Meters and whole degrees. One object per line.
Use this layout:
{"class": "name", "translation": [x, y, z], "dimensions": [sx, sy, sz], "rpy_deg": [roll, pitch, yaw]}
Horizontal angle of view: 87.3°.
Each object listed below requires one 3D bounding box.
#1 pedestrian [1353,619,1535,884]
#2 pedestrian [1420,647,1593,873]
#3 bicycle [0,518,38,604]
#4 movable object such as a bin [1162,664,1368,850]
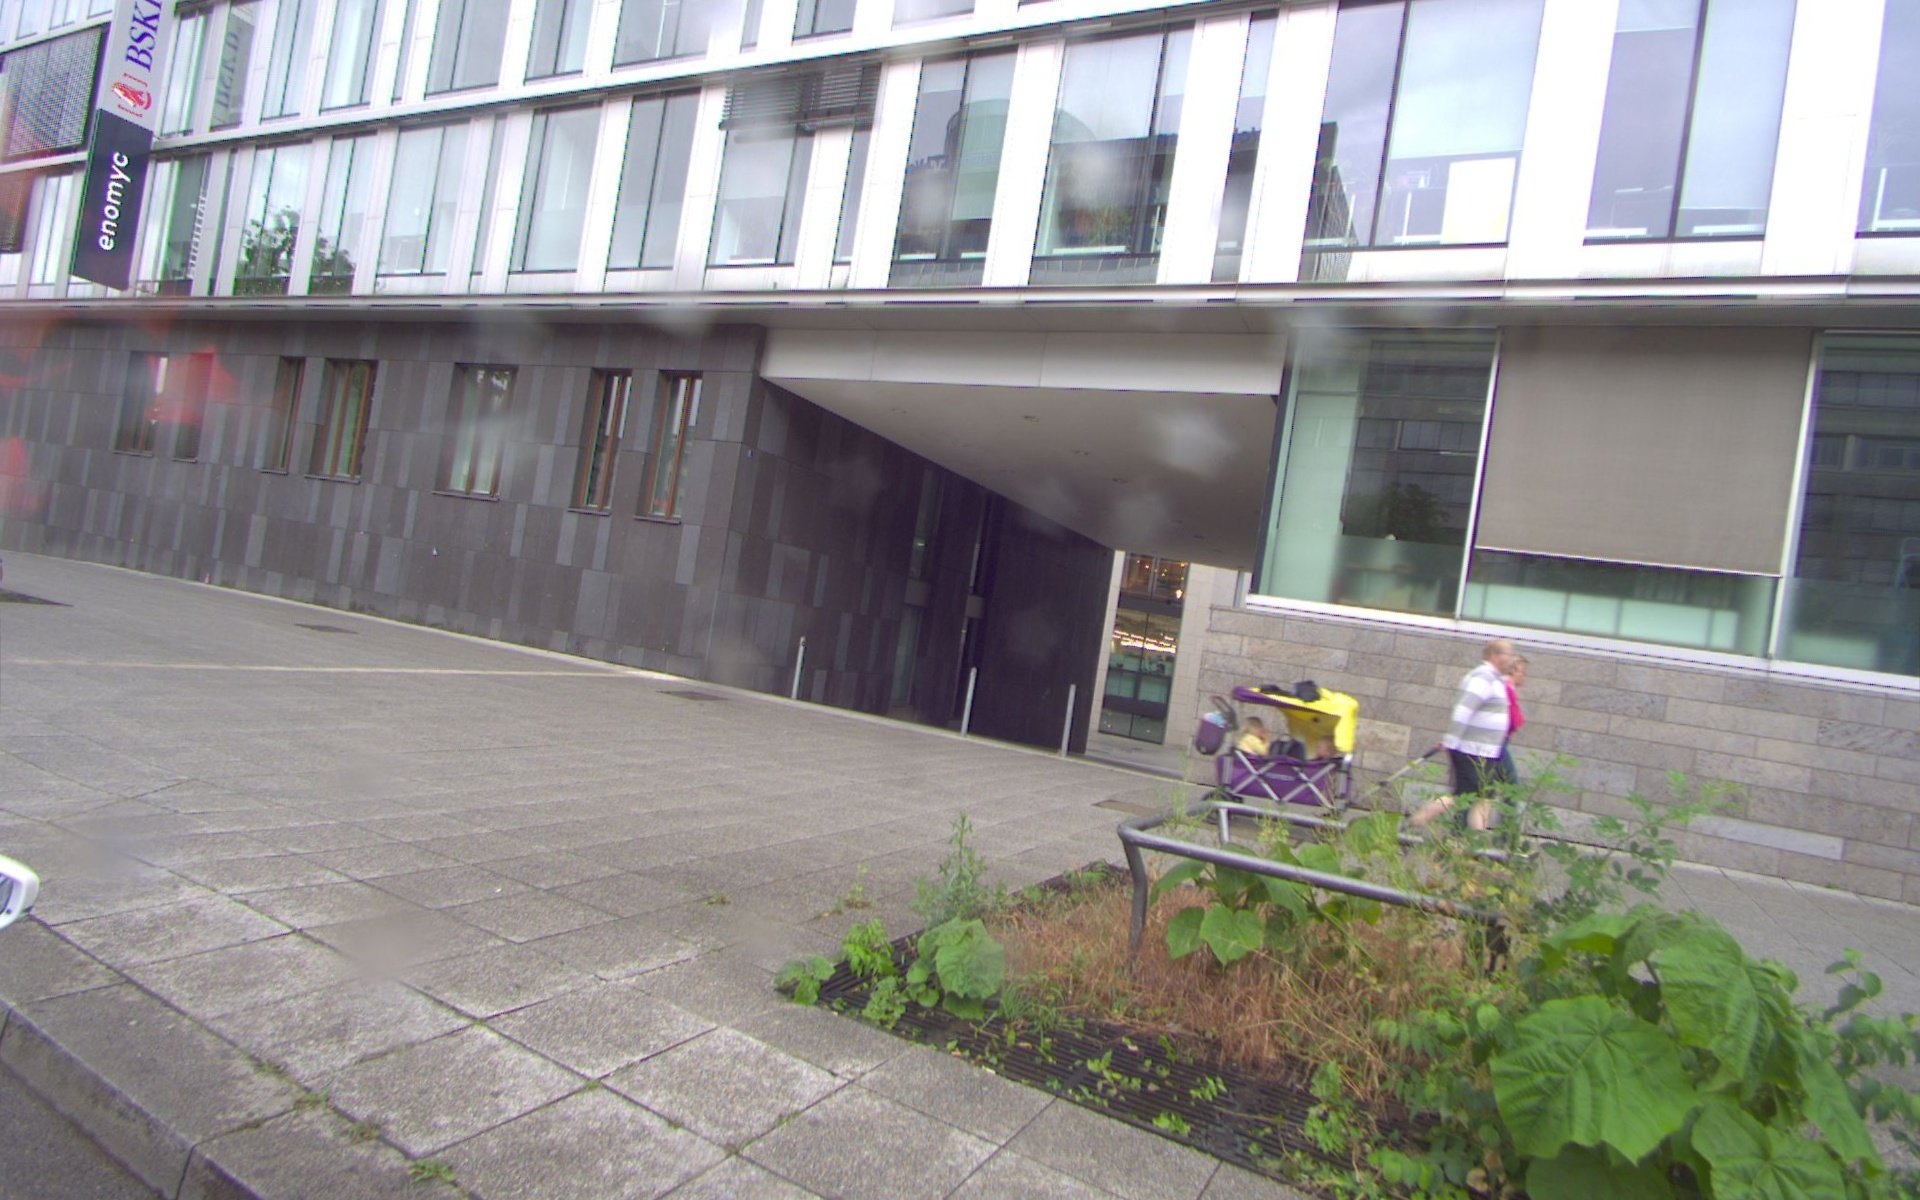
{"class": "pedestrian", "translation": [3.790, 1.129, 7.921], "dimensions": [1.028, 1.814, 0.901], "rpy_deg": [7, 1, 26]}
{"class": "pedestrian", "translation": [4.690, 1.330, 8.709], "dimensions": [1.080, 1.712, 0.719], "rpy_deg": [7, 1, 27]}
{"class": "bicycle", "translation": [-13.066, -0.636, 12.254], "dimensions": [0.665, 1.069, 2.543], "rpy_deg": [7, -2, 27]}
{"class": "movable object such as a bin", "translation": [2.560, 1.266, 8.439], "dimensions": [1.420, 1.279, 0.733], "rpy_deg": [6, -2, 29]}
